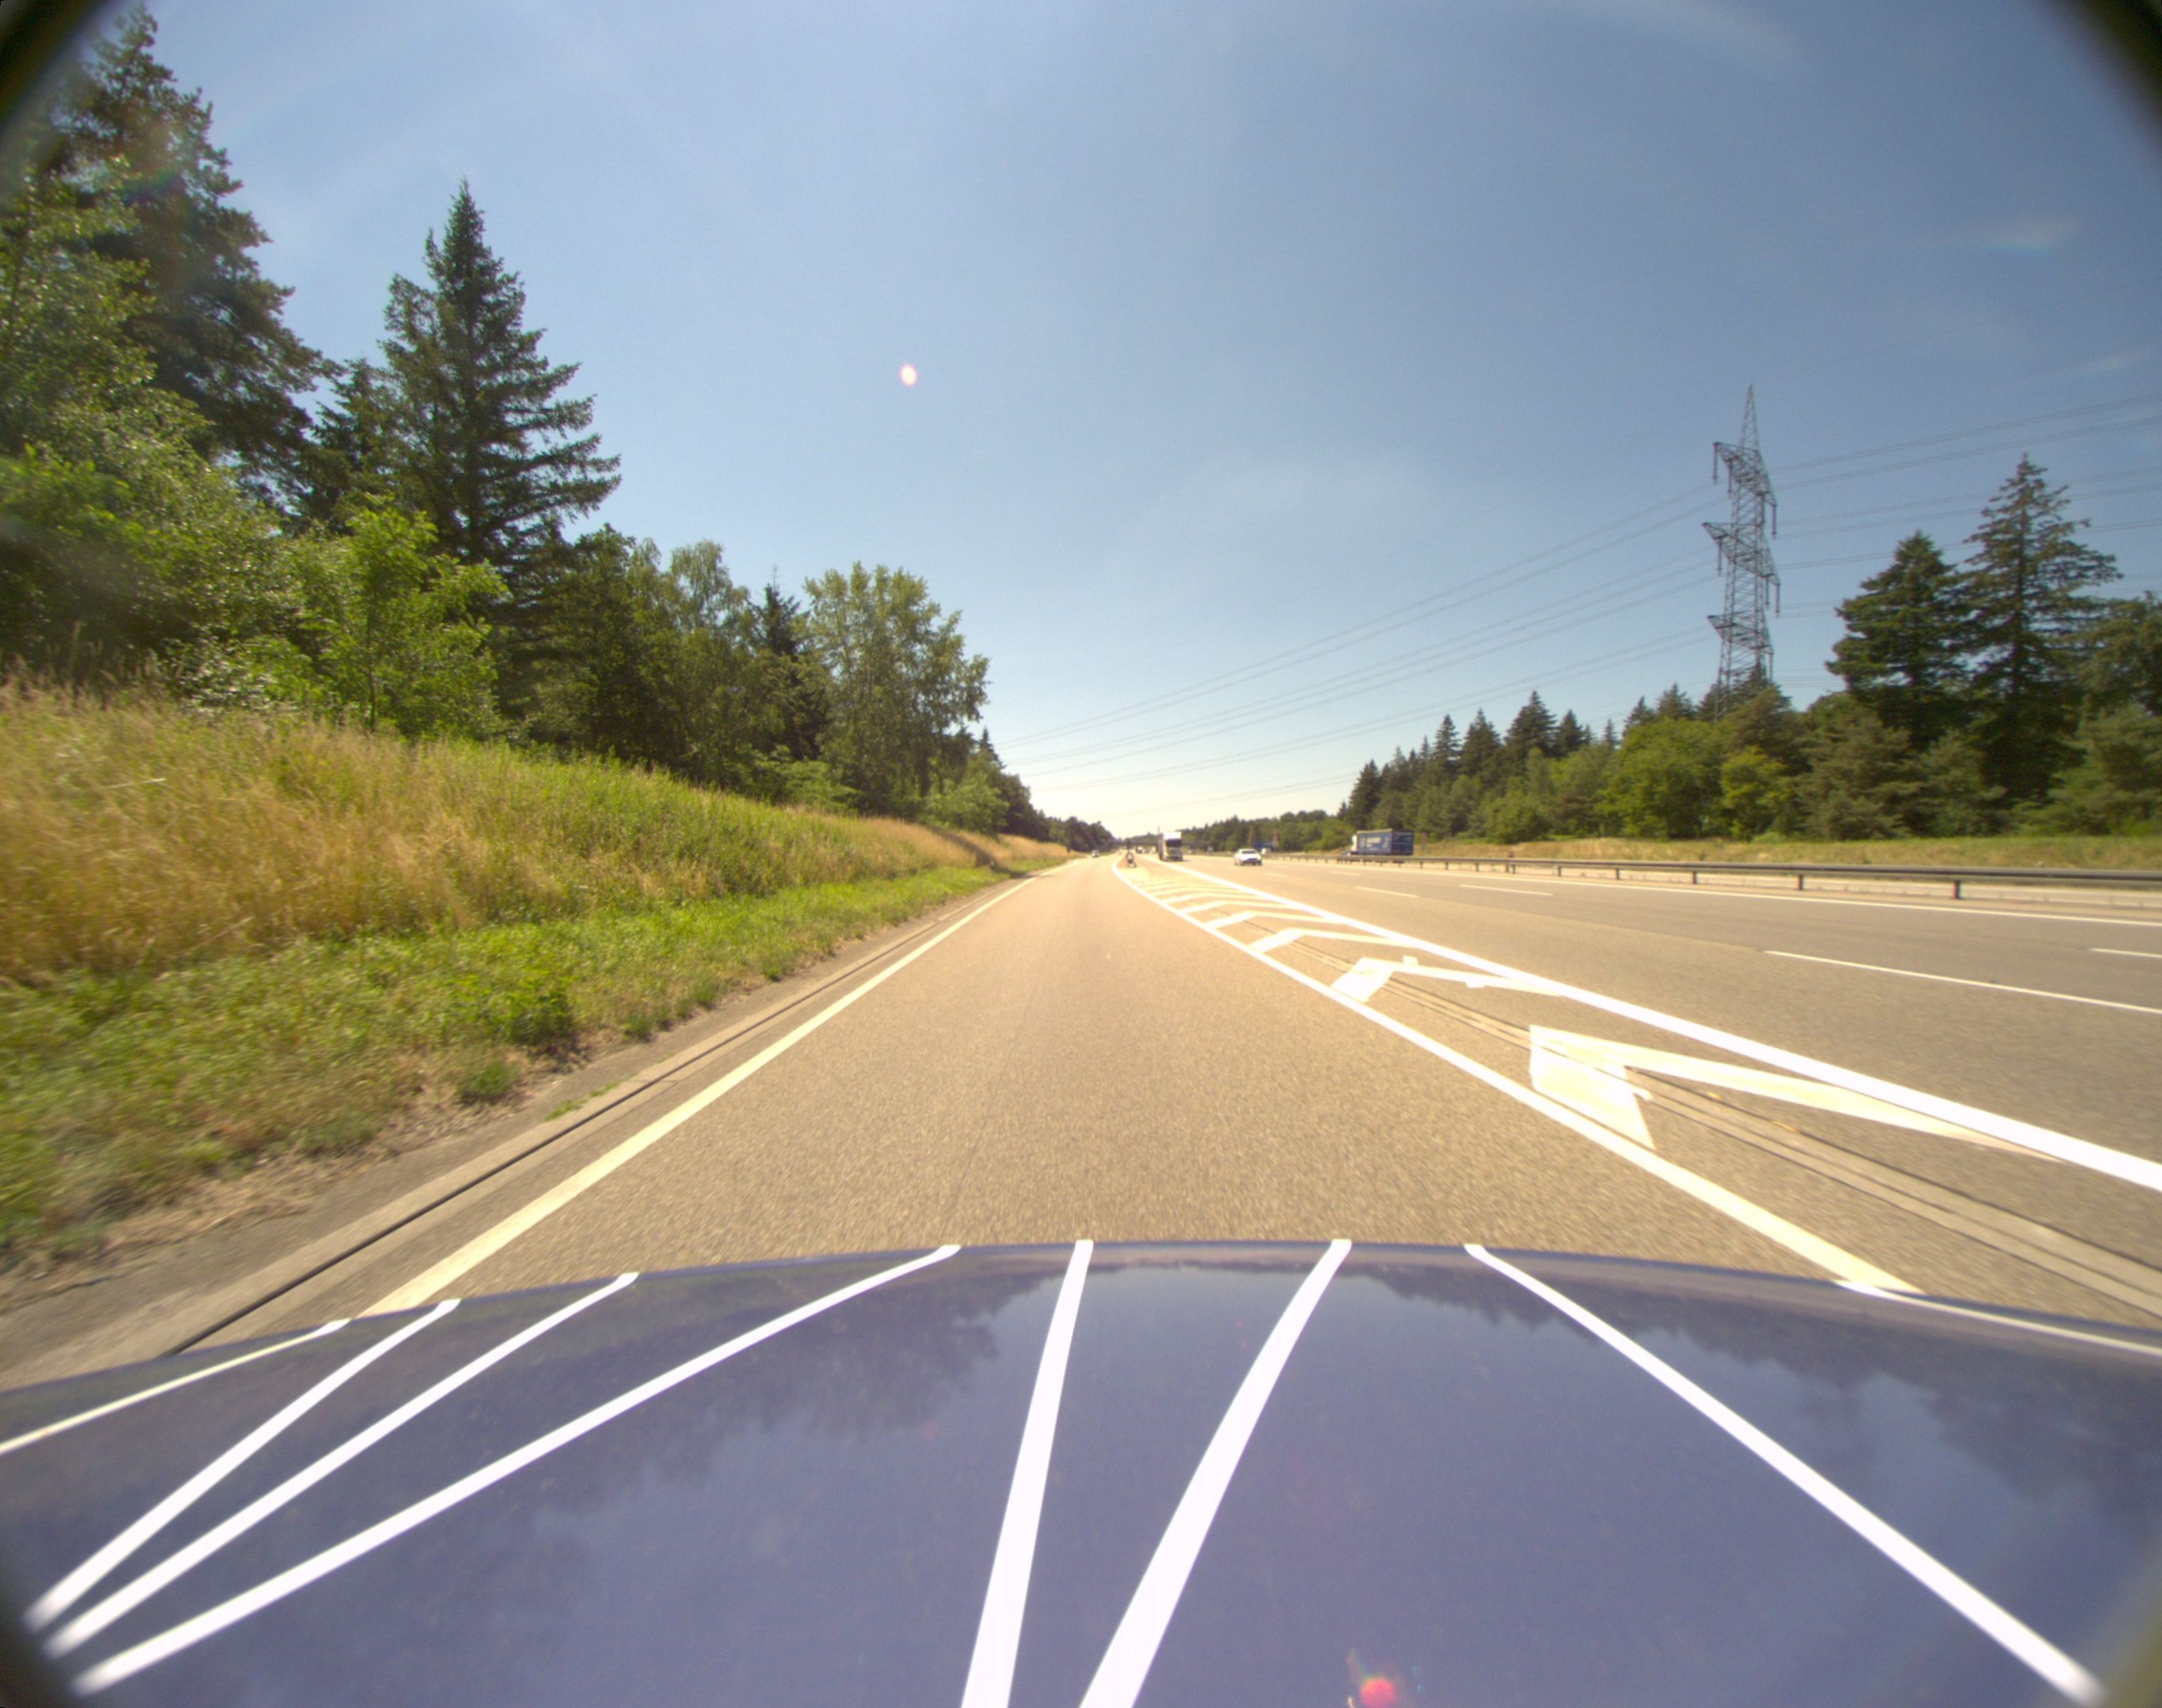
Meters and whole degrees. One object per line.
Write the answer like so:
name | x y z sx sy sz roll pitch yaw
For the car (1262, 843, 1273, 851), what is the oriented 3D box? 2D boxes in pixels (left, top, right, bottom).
car | 58.082 -2.280 236.569 2.310 2.500 6.458 -1 0 4

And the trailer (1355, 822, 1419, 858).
trailer | 38.126 -1.765 95.357 3.210 4.148 13.985 1 1 4

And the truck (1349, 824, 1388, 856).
truck | 38.542 -1.871 102.032 3.210 4.148 5.723 1 1 4

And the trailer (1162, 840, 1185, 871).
trailer | 13.273 0.163 109.322 2.981 4.118 11.700 0 0 6

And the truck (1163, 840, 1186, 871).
truck | 12.691 0.205 103.401 2.979 4.118 5.350 0 1 6

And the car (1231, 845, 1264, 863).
car | 14.928 -0.023 68.322 1.968 1.495 5.404 -1 1 2

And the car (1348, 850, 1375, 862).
car | 33.499 0.258 90.911 1.765 1.395 4.434 0 1 2

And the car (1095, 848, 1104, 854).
car | 4.897 -0.852 202.595 1.898 1.417 4.262 -2 1 6
